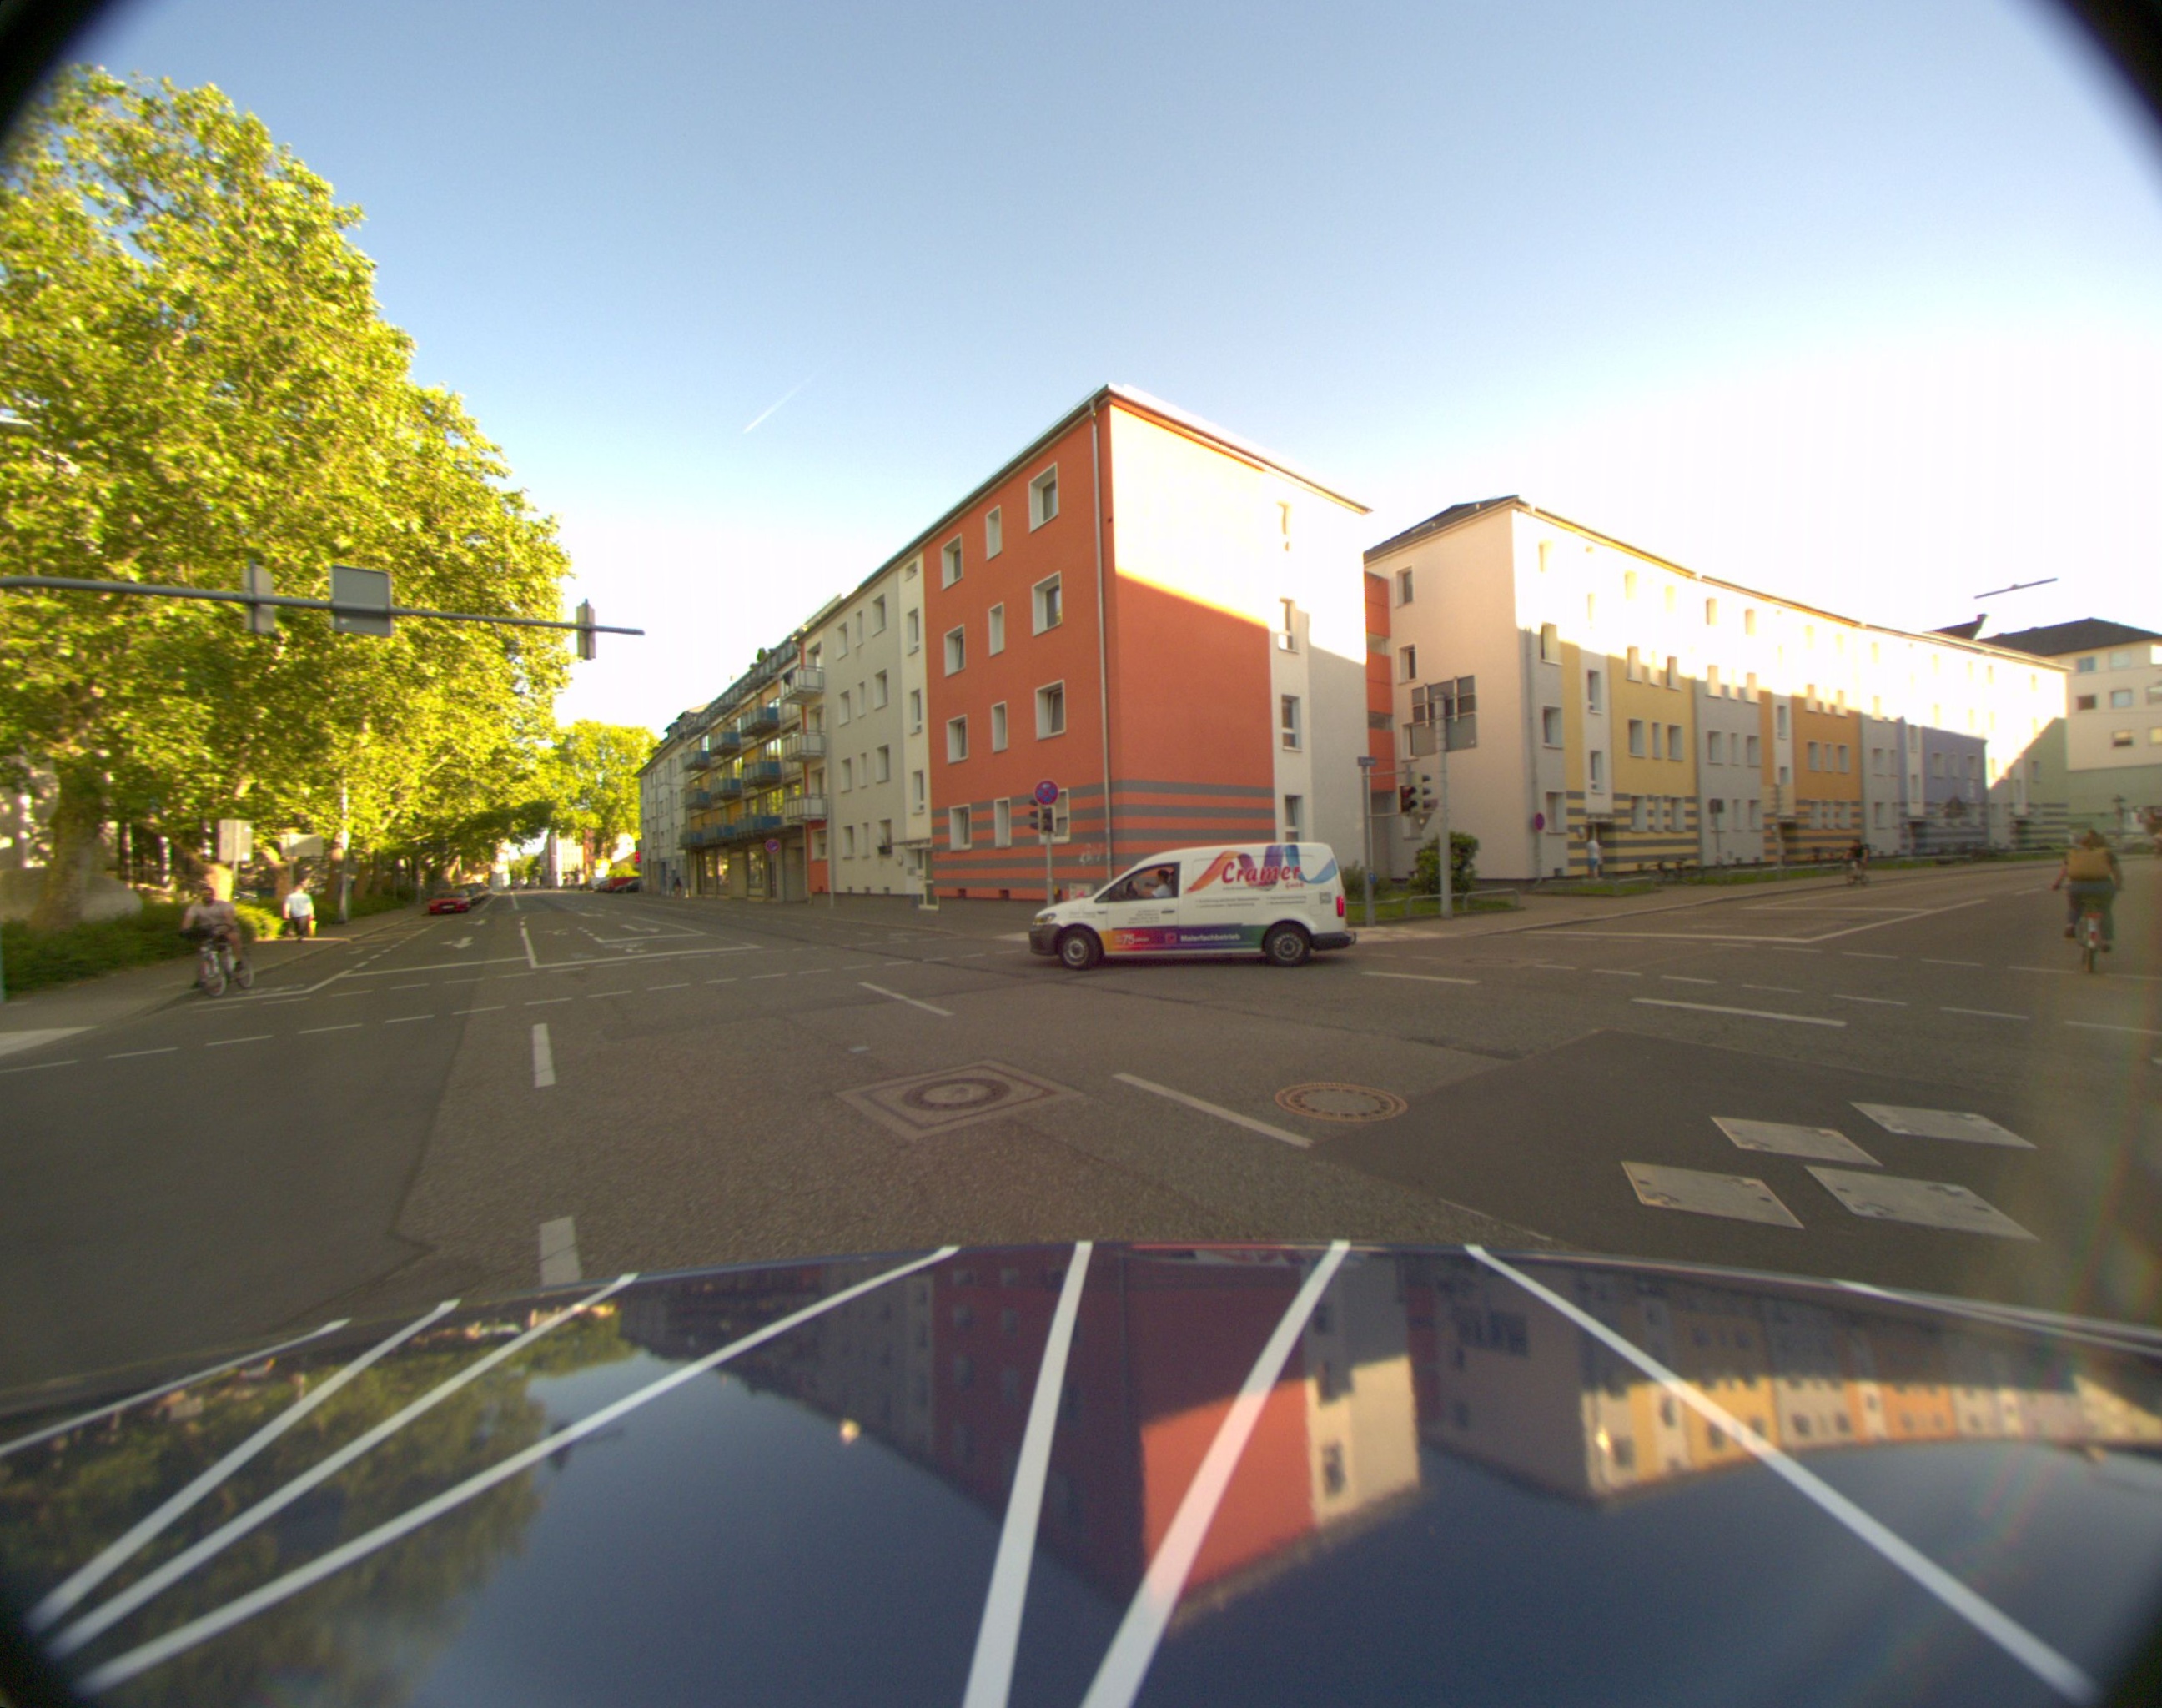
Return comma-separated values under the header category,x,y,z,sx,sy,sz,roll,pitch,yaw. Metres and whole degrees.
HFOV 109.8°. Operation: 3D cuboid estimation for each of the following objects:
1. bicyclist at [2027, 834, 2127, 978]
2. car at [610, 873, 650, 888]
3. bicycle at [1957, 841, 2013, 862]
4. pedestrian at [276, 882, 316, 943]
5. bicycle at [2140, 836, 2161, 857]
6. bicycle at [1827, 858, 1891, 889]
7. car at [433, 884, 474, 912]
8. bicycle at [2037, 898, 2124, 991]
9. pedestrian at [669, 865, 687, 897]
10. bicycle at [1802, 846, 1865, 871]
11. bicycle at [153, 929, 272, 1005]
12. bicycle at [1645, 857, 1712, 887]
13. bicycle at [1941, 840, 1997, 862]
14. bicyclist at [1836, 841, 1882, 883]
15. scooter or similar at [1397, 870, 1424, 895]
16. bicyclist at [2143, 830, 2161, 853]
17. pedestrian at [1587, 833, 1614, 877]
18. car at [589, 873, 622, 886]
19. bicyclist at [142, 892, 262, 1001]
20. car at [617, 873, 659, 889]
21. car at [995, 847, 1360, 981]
category,x,y,z,sx,sy,sz,roll,pitch,yaw
bicyclist,11.985,0.595,9.168,0.856,1.636,0.644,-2,0,-41
car,-54.841,3.227,92.385,4.007,1.689,1.829,-1,0,-35
bicycle,48.412,-0.141,40.709,1.870,1.063,0.712,-2,1,45
pedestrian,-23.956,1.769,23.197,0.672,1.787,0.664,-7,4,-43
bicycle,58.663,-0.442,41.486,1.799,1.104,0.676,-2,0,-27
bicycle,25.866,0.649,25.258,1.995,0.992,0.789,1,-3,-24
car,-38.448,2.665,46.627,1.791,1.520,4.645,-2,0,-38
bicycle,12.046,1.048,9.190,1.825,0.919,0.494,-2,0,-41
pedestrian,-30.272,2.006,57.054,0.916,2.382,1.085,-2,0,-38
bicycle,33.443,0.202,33.793,0.712,1.063,1.871,-3,1,-37
bicycle,-14.609,1.861,12.848,0.705,1.060,1.924,-2,-2,-29
bicycle,21.004,0.624,26.729,0.541,0.987,1.754,-3,1,-40
bicycle,46.716,-0.155,39.992,0.712,1.063,1.871,-3,1,-37
bicyclist,25.881,0.273,25.286,0.839,1.364,0.790,0,-3,-24
scooter or similar,10.920,0.952,25.198,0.743,0.783,0.301,-2,1,37
bicyclist,58.694,-0.674,41.501,0.823,1.252,0.676,-2,0,-28
pedestrian,17.544,0.037,25.672,0.600,1.452,0.560,-2,0,-38
car,-70.330,3.799,112.472,4.007,1.689,1.829,-1,0,-35
bicyclist,-14.558,1.494,12.629,0.951,1.630,1.005,-3,1,-29
car,-51.475,3.089,88.324,4.007,1.689,1.829,-1,0,-35
car,1.417,0.905,11.839,5.118,1.805,2.002,-2,-1,7
